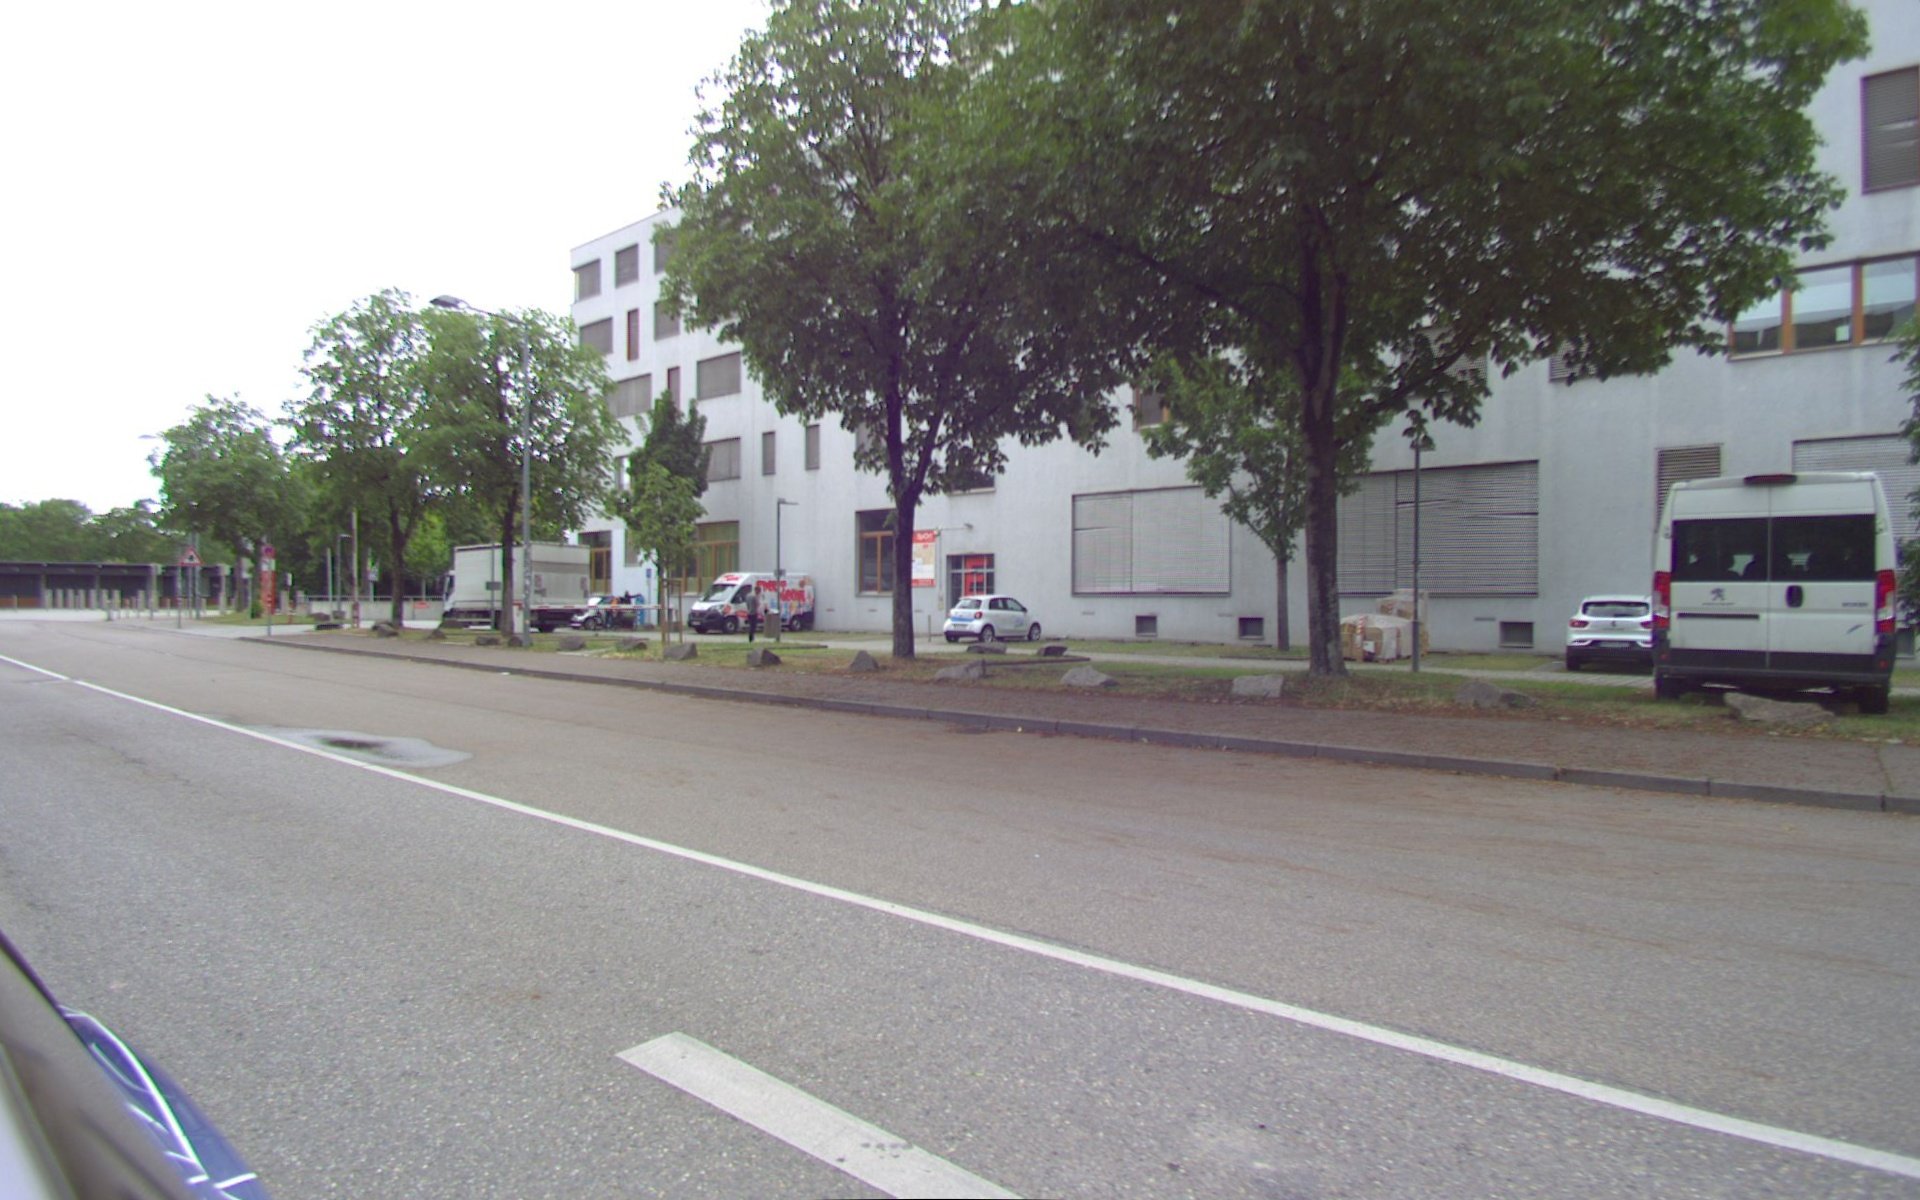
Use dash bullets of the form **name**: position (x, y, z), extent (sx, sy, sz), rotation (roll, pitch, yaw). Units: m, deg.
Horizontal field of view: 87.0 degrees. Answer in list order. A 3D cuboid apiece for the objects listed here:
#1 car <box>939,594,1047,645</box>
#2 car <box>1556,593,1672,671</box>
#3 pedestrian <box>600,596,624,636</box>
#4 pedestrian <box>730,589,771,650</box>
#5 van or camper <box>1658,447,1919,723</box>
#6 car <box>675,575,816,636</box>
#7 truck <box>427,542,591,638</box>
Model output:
- **car**: position (1.124, 0.585, 33.197), extent (1.691, 1.511, 3.576), rotation (1, 1, 40)
- **car**: position (14.218, 0.613, 21.909), extent (1.896, 1.467, 3.963), rotation (1, 2, 36)
- **pedestrian**: position (-14.569, 0.665, 42.351), extent (0.873, 1.618, 0.682), rotation (0, 1, -29)
- **pedestrian**: position (-5.939, 0.538, 28.734), extent (0.784, 1.684, 0.836), rotation (1, 1, 34)
- **van or camper**: position (9.781, -0.191, 12.062), extent (2.059, 2.589, 4.923), rotation (1, 2, 38)
- **car**: position (-8.666, 0.168, 41.310), extent (2.077, 2.296, 5.569), rotation (1, 1, 40)
- **truck**: position (-18.830, -0.486, 41.950), extent (8.354, 3.627, 2.651), rotation (1, 1, 38)
